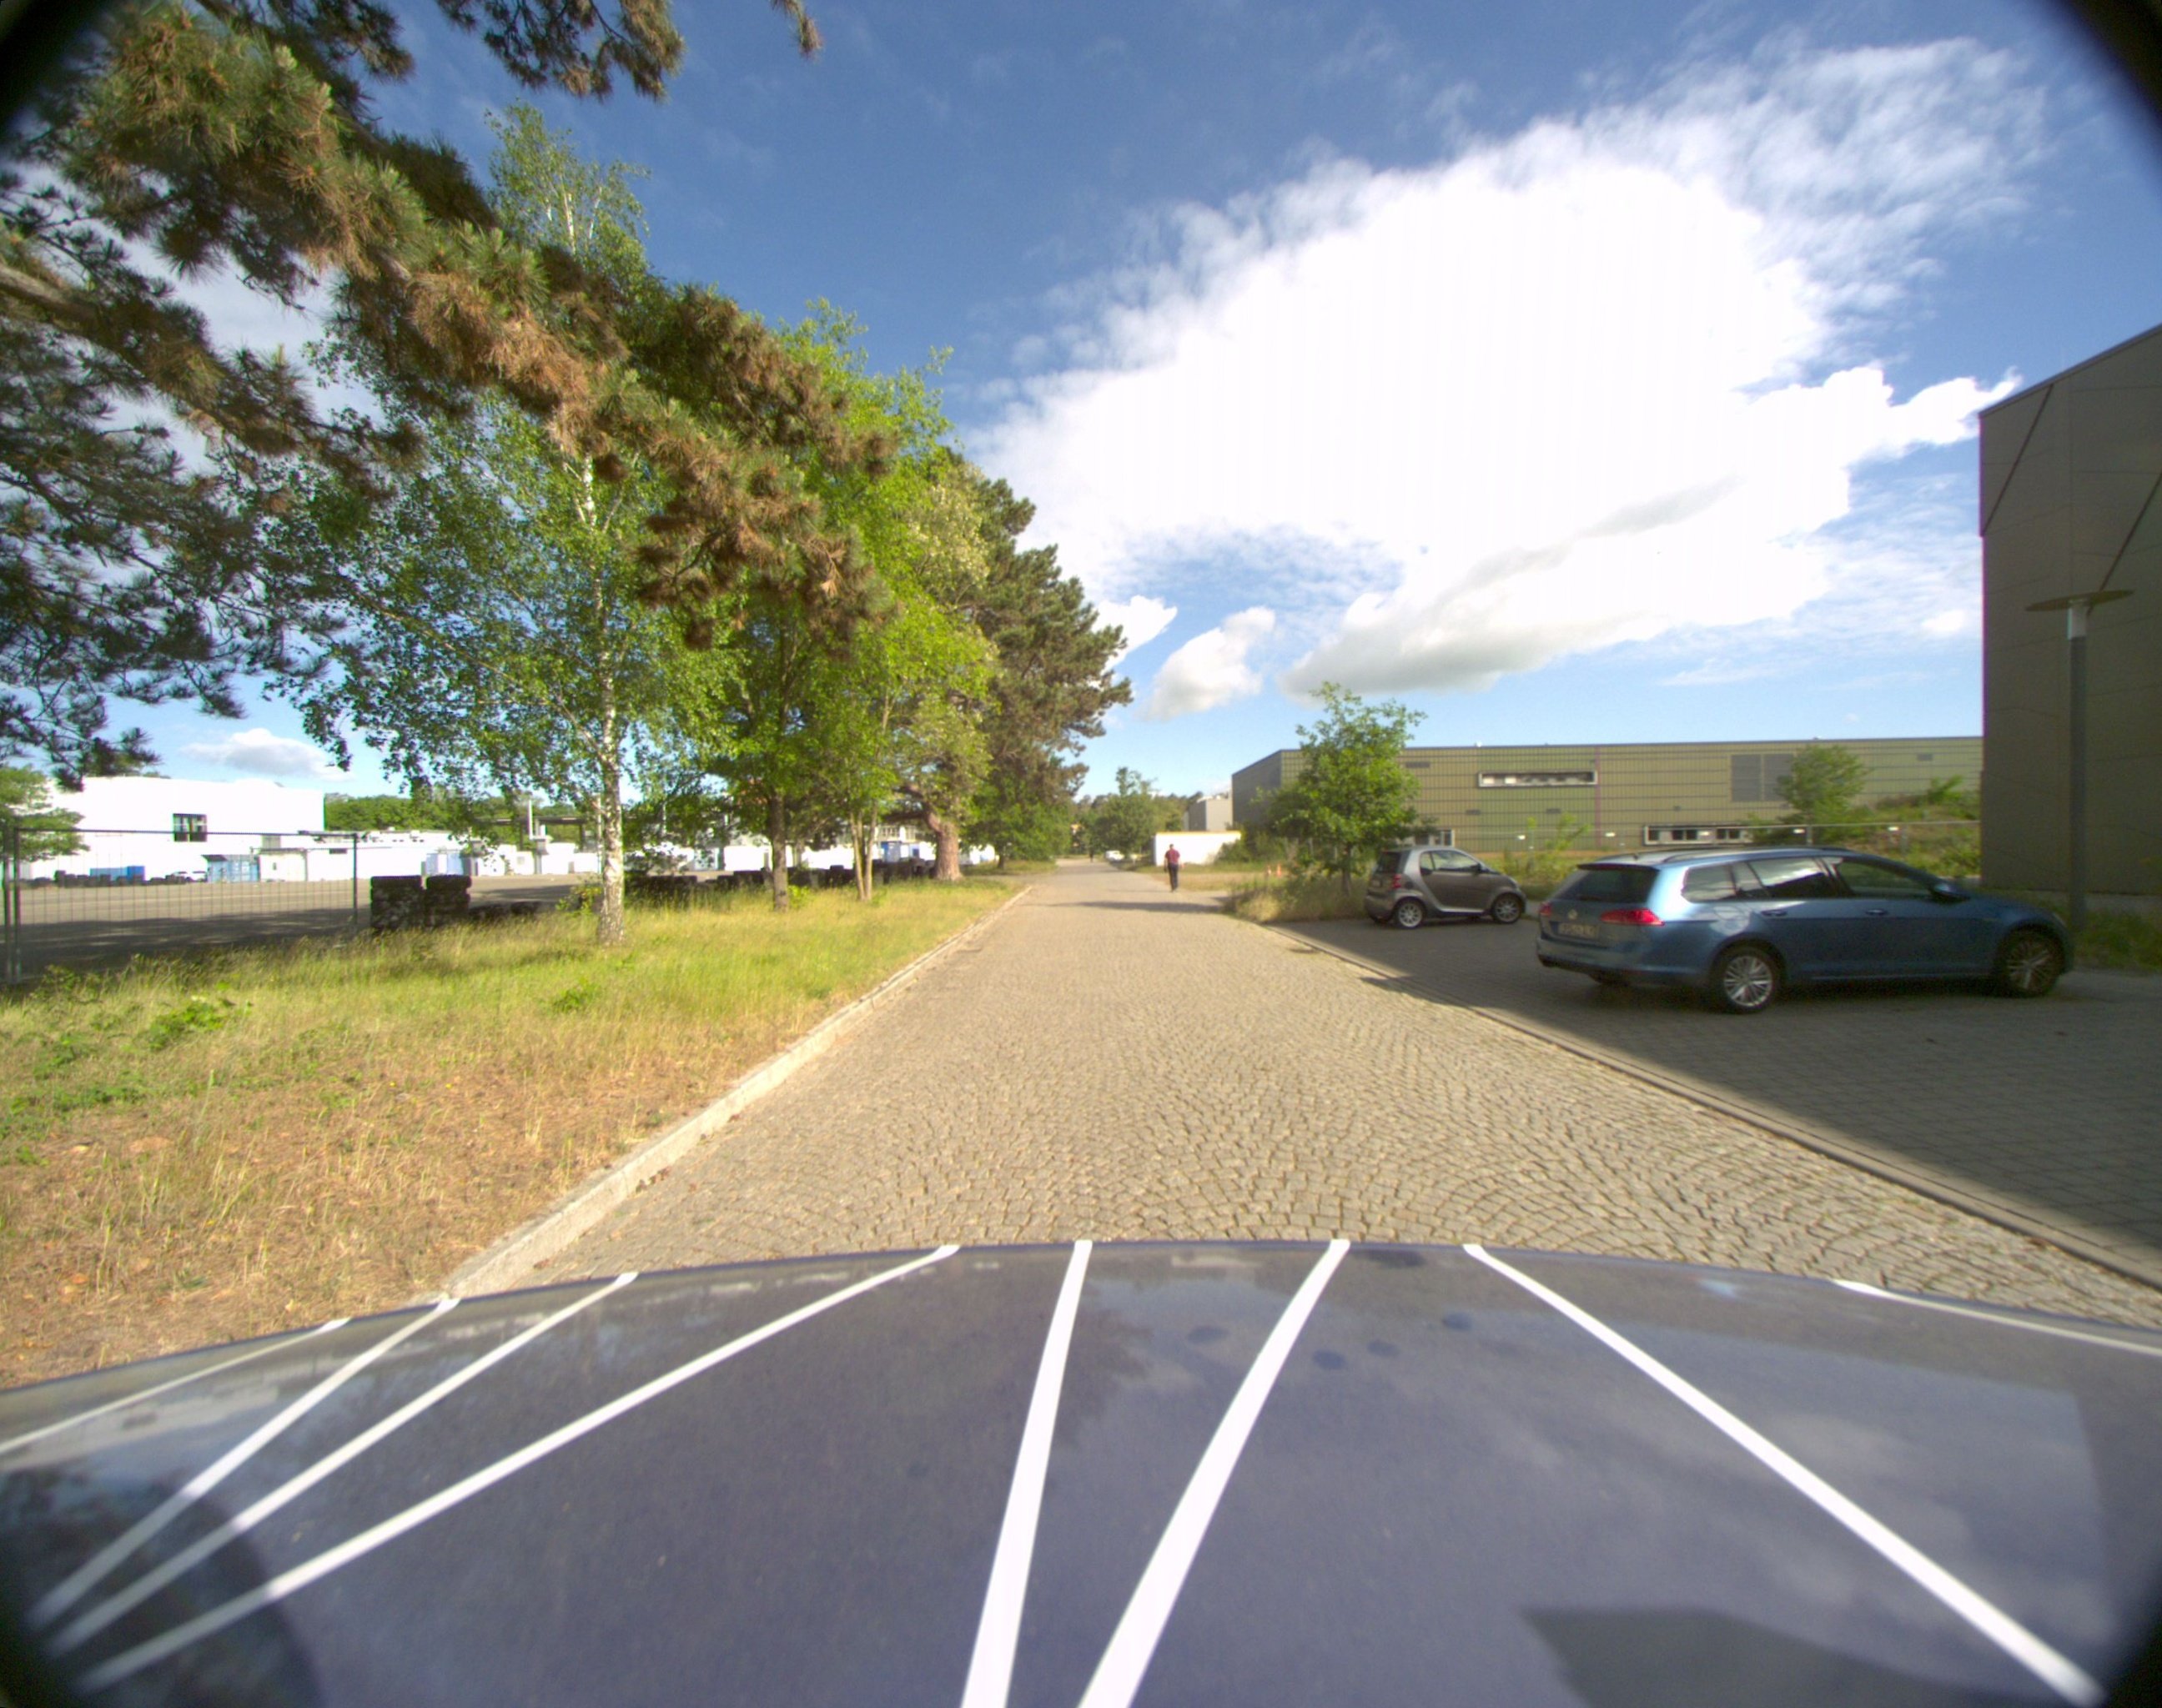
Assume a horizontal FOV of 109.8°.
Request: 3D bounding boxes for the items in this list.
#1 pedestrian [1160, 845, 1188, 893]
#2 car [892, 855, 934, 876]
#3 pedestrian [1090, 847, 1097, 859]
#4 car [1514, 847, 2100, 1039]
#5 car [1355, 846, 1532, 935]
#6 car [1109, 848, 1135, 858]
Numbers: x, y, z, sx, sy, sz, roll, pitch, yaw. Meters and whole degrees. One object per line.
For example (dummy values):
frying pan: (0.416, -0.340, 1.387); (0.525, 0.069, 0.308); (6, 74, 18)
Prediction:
pedestrian: (3.493, 0.556, 28.503); (0.806, 1.761, 1.152); (-1, 1, -4)
car: (-12.374, 0.822, 56.206); (1.846, 1.440, 4.001); (-1, 1, 6)
pedestrian: (1.874, -0.168, 116.978); (0.908, 1.797, 0.983); (-1, 1, -7)
car: (6.906, 0.768, 7.525); (4.268, 1.455, 1.680); (-3, 1, -2)
car: (7.030, 0.673, 14.904); (2.706, 1.533, 1.518); (-3, 1, -1)
car: (6.612, -0.164, 122.222); (3.996, 1.678, 2.000); (-1, 1, 3)
